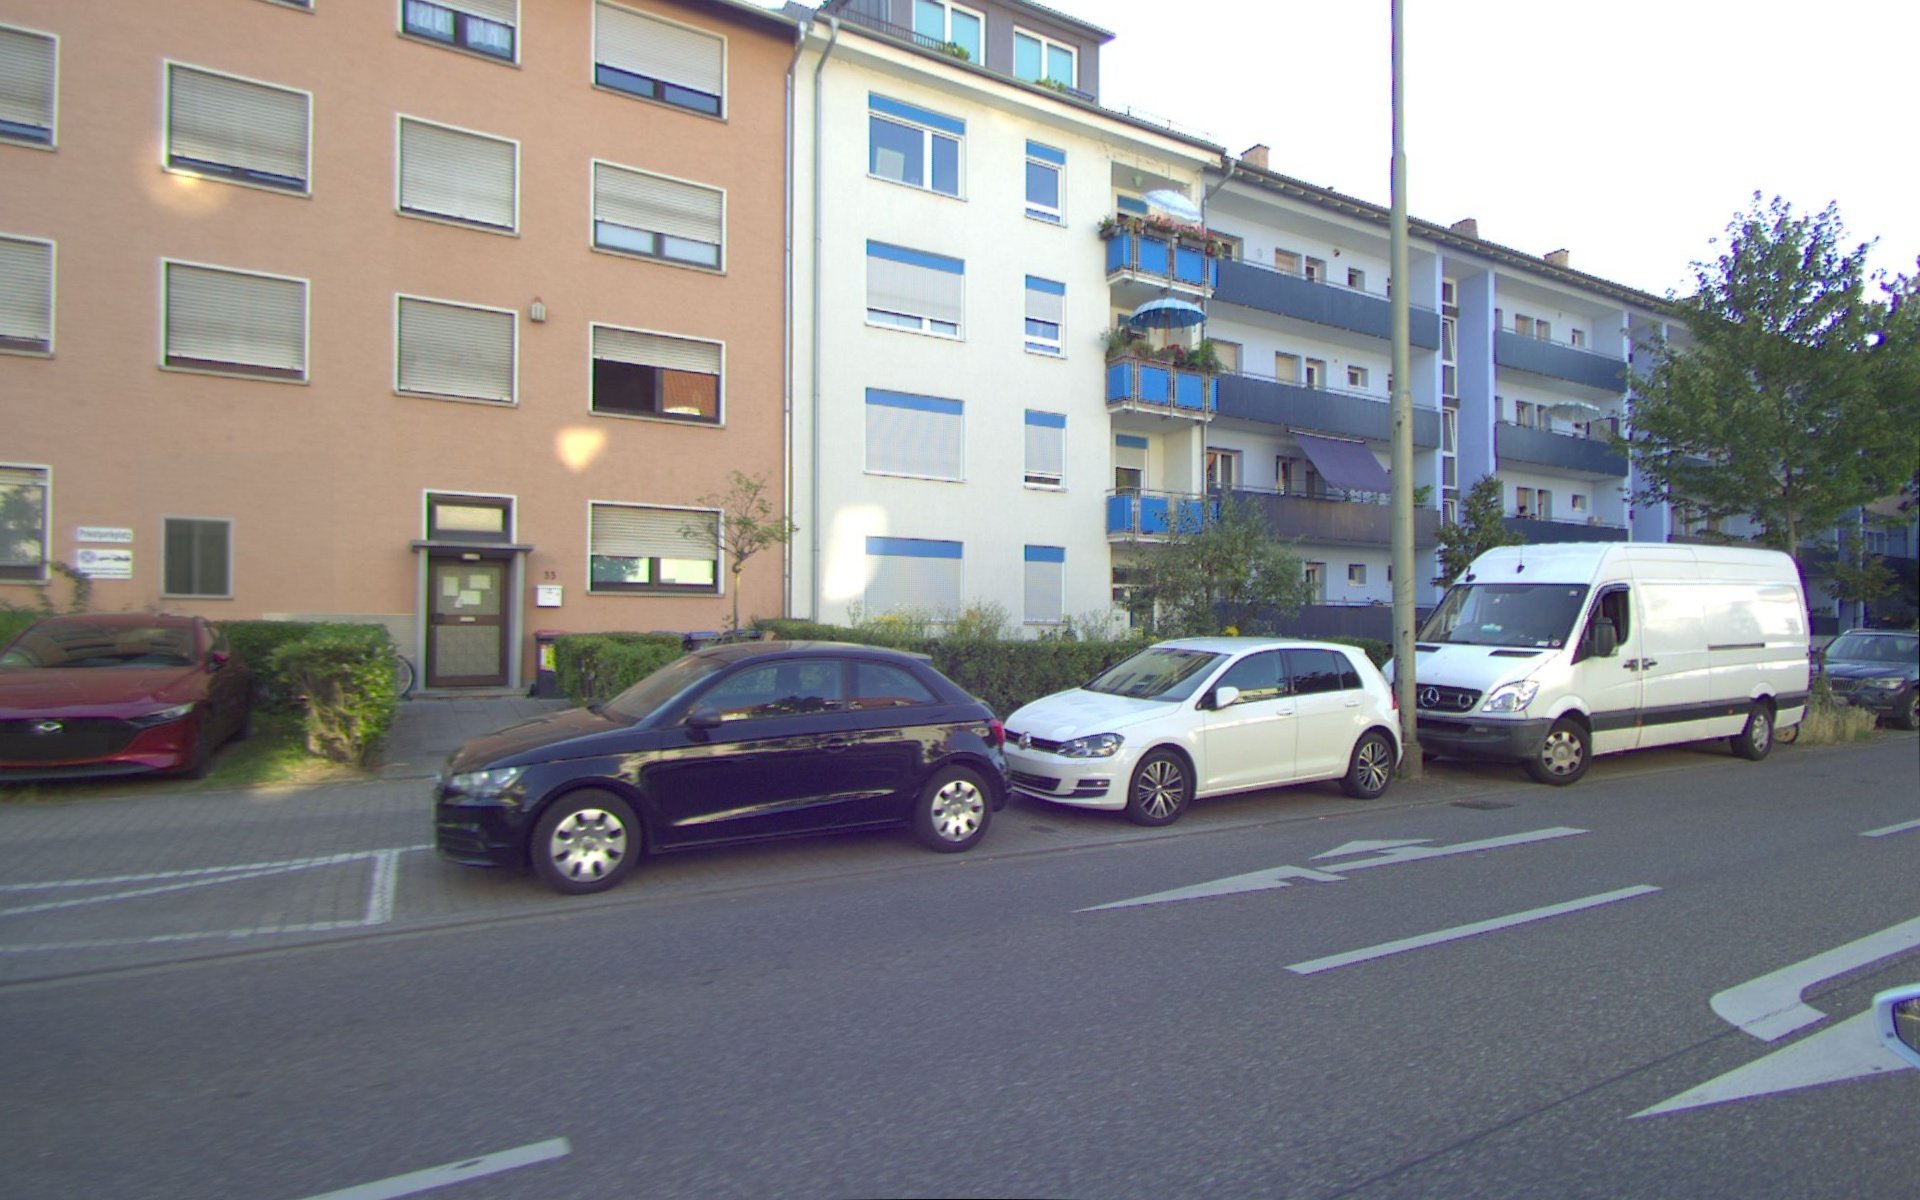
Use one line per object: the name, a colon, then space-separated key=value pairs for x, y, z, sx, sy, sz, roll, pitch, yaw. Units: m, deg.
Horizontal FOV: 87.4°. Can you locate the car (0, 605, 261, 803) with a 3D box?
car: x=-8.079 y=0.815 z=9.578 sx=1.893 sy=1.432 sz=3.969 roll=1 pitch=1 yaw=-29

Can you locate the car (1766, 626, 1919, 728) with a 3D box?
car: x=15.917 y=1.242 z=17.246 sx=4.418 sy=1.563 sz=1.665 roll=1 pitch=-2 yaw=-29

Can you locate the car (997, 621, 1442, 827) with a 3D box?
car: x=2.503 y=0.999 z=9.476 sx=4.010 sy=1.512 sz=1.698 roll=1 pitch=1 yaw=-30

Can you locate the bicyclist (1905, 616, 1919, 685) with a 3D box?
bicyclist: x=22.824 y=1.180 z=23.577 sx=0.926 sy=1.614 sz=0.602 roll=1 pitch=-2 yaw=-22

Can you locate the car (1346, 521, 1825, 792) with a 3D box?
car: x=7.974 y=0.603 z=12.456 sx=7.021 sy=2.651 sz=1.984 roll=1 pitch=0 yaw=-30

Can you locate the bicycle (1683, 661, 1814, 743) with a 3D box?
bicycle: x=11.325 y=1.438 z=14.477 sx=0.433 sy=1.028 sz=1.469 roll=1 pitch=0 yaw=-22

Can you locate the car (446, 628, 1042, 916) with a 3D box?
car: x=-1.446 y=0.968 z=6.995 sx=3.765 sy=1.492 sz=1.605 roll=1 pitch=0 yaw=-29

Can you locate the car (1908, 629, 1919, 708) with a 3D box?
car: x=20.379 y=1.323 z=19.485 sx=4.091 sy=1.503 sz=1.686 roll=1 pitch=-1 yaw=-28
